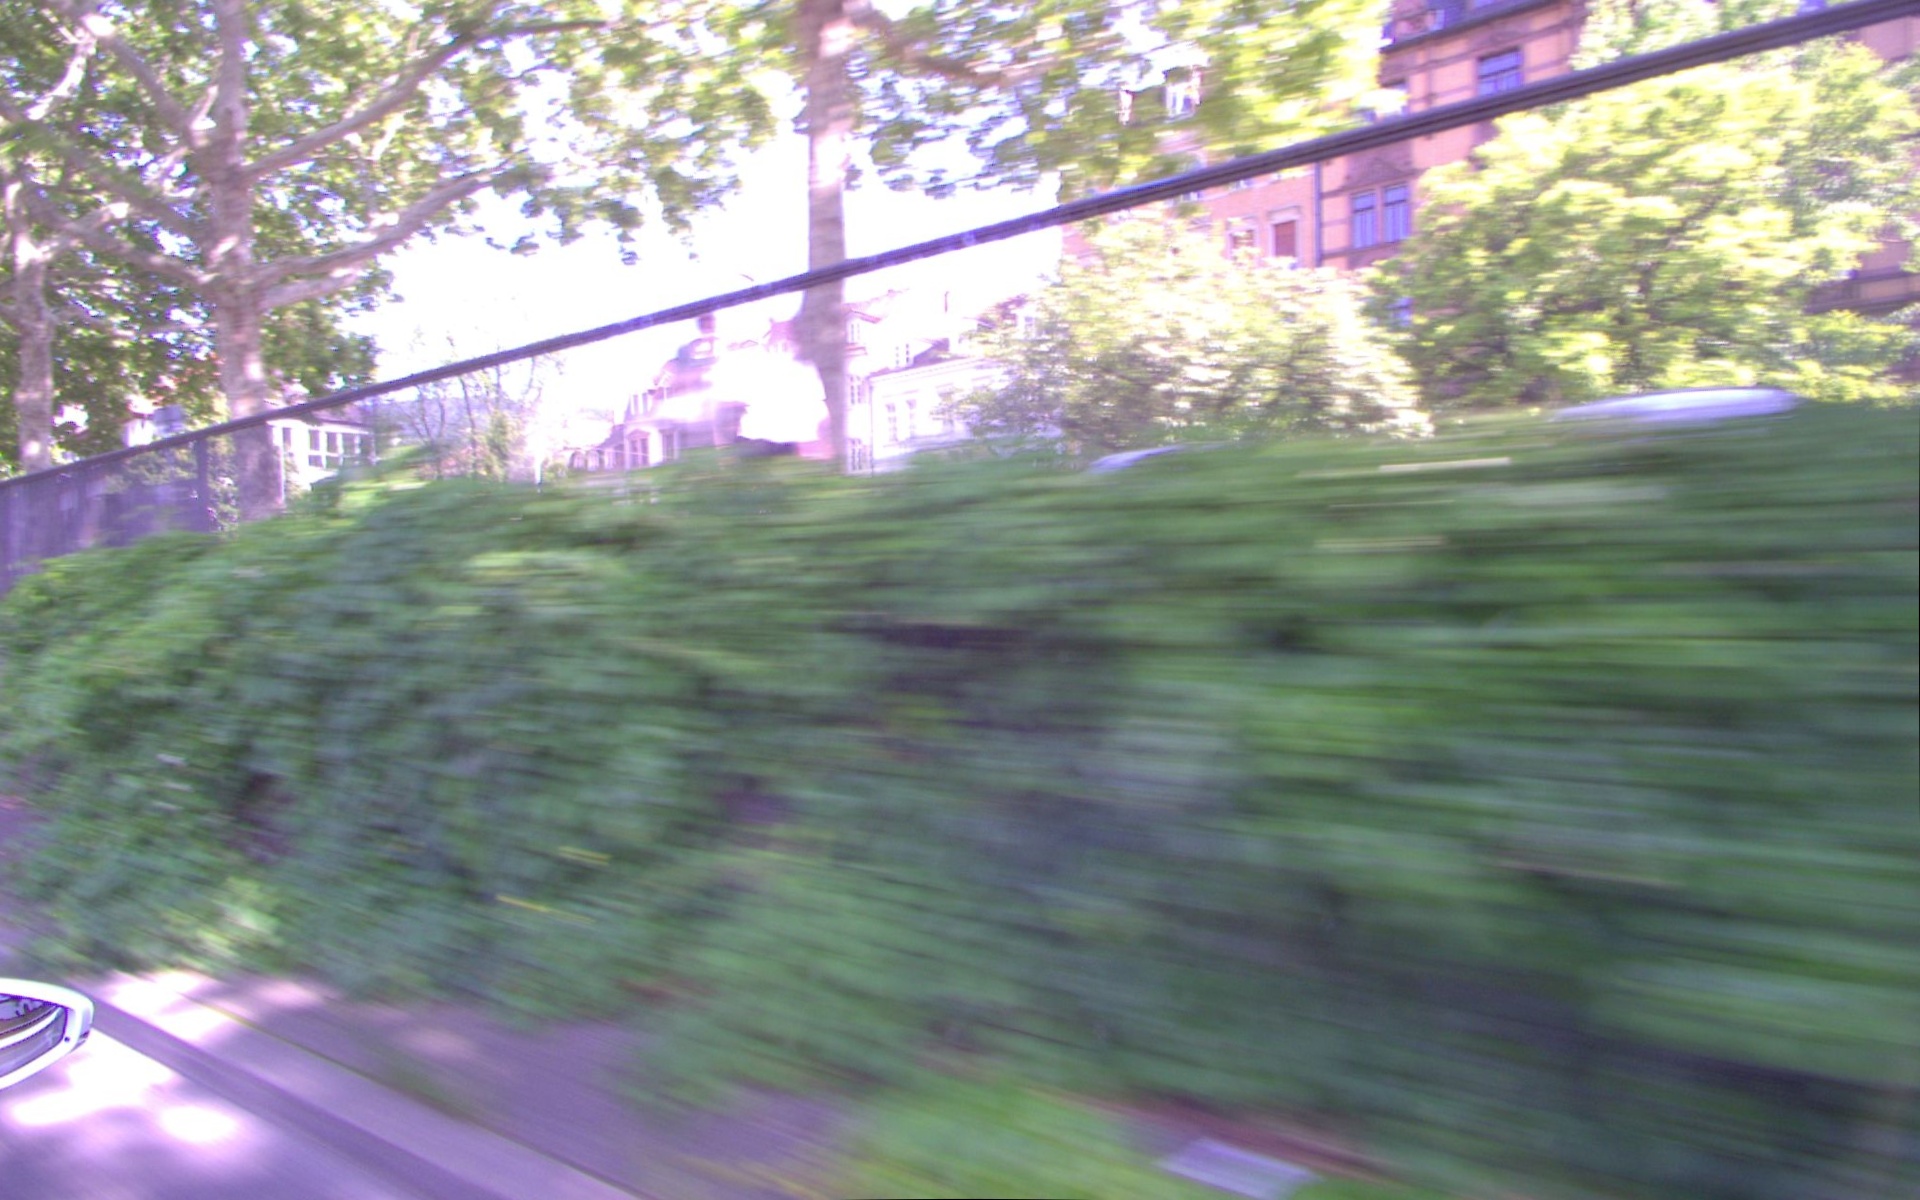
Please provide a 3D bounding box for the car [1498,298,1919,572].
[{"bbox_3d":[4.756,-0.887,6.734,1.647,1.252,3.723,-1,2,23],"label":"car"}]

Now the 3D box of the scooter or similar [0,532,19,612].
[{"bbox_3d":[-13.134,-0.337,13.115,1.091,1.041,0.853,-1,3,31],"label":"scooter or similar"}]

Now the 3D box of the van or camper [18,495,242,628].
[{"bbox_3d":[-17.653,-0.588,21.803,2.311,2.211,7.326,1,-3,-28],"label":"van or camper"}]

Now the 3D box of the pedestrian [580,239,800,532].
[{"bbox_3d":[-1.452,-1.087,5.458,0.802,1.385,0.751,-1,3,30],"label":"pedestrian"}]

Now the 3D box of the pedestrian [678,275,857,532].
[{"bbox_3d":[-1.161,-1.130,6.096,0.782,1.385,0.642,-1,3,30],"label":"pedestrian"}]

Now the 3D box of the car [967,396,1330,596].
[{"bbox_3d":[1.728,-0.757,8.251,1.495,1.252,3.507,0,3,38],"label":"car"}]
